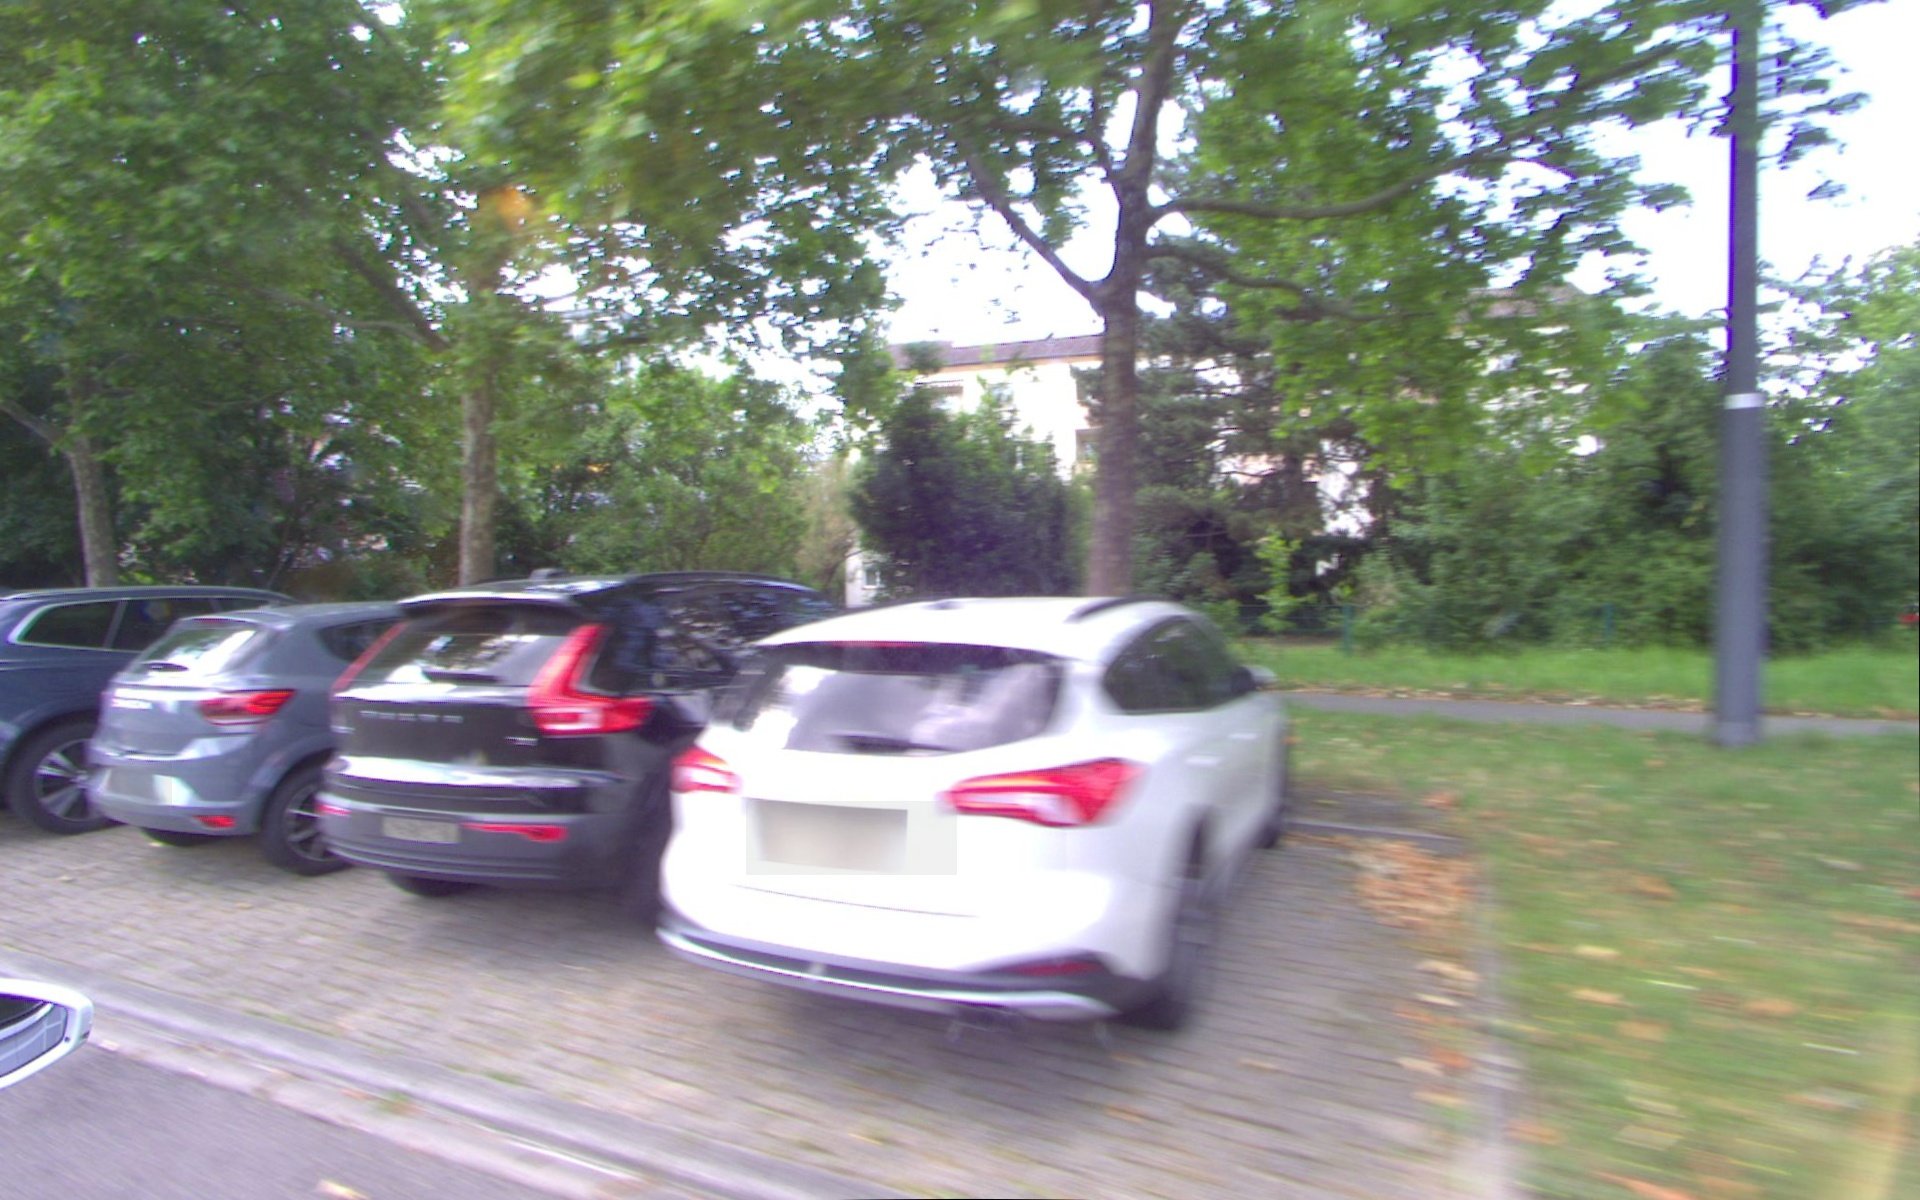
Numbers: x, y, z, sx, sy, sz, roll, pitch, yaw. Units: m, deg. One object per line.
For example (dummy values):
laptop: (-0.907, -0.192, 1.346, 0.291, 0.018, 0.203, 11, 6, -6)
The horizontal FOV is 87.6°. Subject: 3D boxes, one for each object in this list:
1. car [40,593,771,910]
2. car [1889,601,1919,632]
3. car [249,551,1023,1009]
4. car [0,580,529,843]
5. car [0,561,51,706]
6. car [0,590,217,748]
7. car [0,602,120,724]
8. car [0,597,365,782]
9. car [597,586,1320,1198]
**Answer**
car: (-3.480, 0.735, 7.267, 1.729, 1.521, 4.374, 0, 1, 30)
car: (49.218, 0.826, 49.902, 1.961, 1.533, 4.685, -1, 0, 8)
car: (-1.286, 0.610, 6.086, 1.817, 1.648, 4.657, 0, 1, 24)
car: (-6.001, 0.683, 8.203, 1.730, 1.662, 4.374, 0, 1, 30)
car: (-15.875, 0.526, 13.821, 1.827, 2.152, 4.541, 0, 1, 27)
car: (-10.758, 0.730, 10.933, 1.724, 1.627, 3.971, 0, 1, 18)
car: (-13.139, 0.821, 12.287, 1.729, 1.514, 3.962, -1, 1, 27)
car: (-8.335, 0.764, 9.828, 1.728, 1.514, 3.962, 0, 1, 27)
car: (0.623, 0.694, 4.961, 1.817, 1.493, 4.657, 0, 1, 24)
